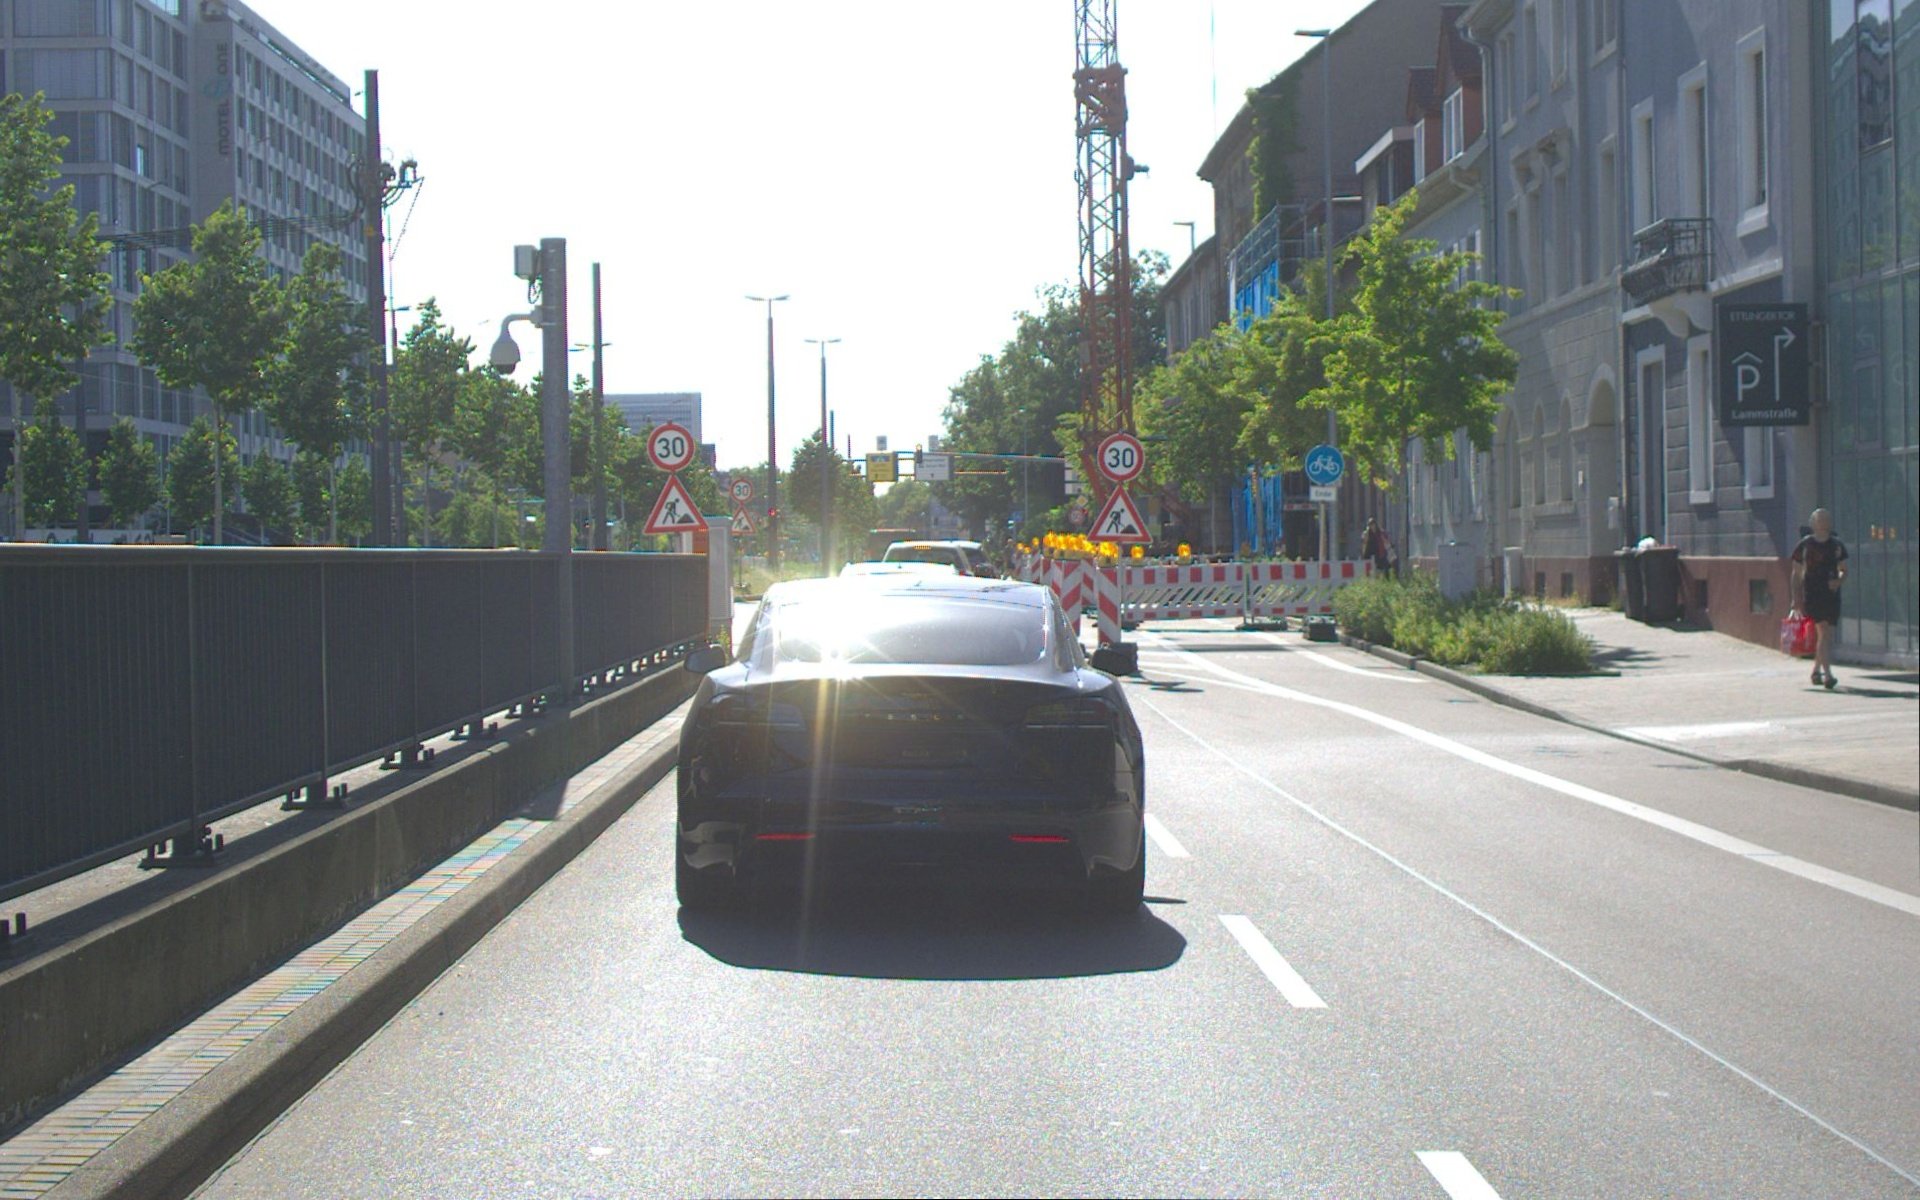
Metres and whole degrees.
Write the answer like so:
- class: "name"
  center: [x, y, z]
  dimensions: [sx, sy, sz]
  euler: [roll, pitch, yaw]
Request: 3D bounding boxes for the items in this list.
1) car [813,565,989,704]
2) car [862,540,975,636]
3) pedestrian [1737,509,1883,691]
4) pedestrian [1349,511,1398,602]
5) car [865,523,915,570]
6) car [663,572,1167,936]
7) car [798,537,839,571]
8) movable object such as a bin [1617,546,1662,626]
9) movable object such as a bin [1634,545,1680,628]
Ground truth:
- class: "car"
  center: [-0.564, 0.323, 36.031]
  dimensions: [1.716, 1.315, 4.000]
  euler: [0, 1, 1]
- class: "car"
  center: [-0.675, -0.238, 58.364]
  dimensions: [1.784, 1.540, 4.039]
  euler: [0, 1, 1]
- class: "pedestrian"
  center: [8.934, -0.009, 36.204]
  dimensions: [1.095, 1.857, 1.523]
  euler: [-1, 1, -1]
- class: "pedestrian"
  center: [8.595, -0.909, 71.486]
  dimensions: [0.851, 1.857, 0.930]
  euler: [-1, 1, -1]
- class: "car"
  center: [-2.791, -2.153, 137.245]
  dimensions: [1.814, 1.803, 4.039]
  euler: [0, 1, 1]
- class: "car"
  center: [-0.198, 0.594, 15.840]
  dimensions: [1.999, 1.429, 4.413]
  euler: [0, 1, -1]
- class: "car"
  center: [-7.122, -2.302, 173.489]
  dimensions: [1.993, 1.678, 4.000]
  euler: [1, 0, -1]
- class: "movable object such as a bin"
  center: [9.919, -0.204, 50.184]
  dimensions: [0.559, 1.165, 0.562]
  euler: [1, 0, 4]
- class: "movable object such as a bin"
  center: [10.005, -0.196, 49.335]
  dimensions: [0.559, 1.165, 0.562]
  euler: [1, 0, 4]
